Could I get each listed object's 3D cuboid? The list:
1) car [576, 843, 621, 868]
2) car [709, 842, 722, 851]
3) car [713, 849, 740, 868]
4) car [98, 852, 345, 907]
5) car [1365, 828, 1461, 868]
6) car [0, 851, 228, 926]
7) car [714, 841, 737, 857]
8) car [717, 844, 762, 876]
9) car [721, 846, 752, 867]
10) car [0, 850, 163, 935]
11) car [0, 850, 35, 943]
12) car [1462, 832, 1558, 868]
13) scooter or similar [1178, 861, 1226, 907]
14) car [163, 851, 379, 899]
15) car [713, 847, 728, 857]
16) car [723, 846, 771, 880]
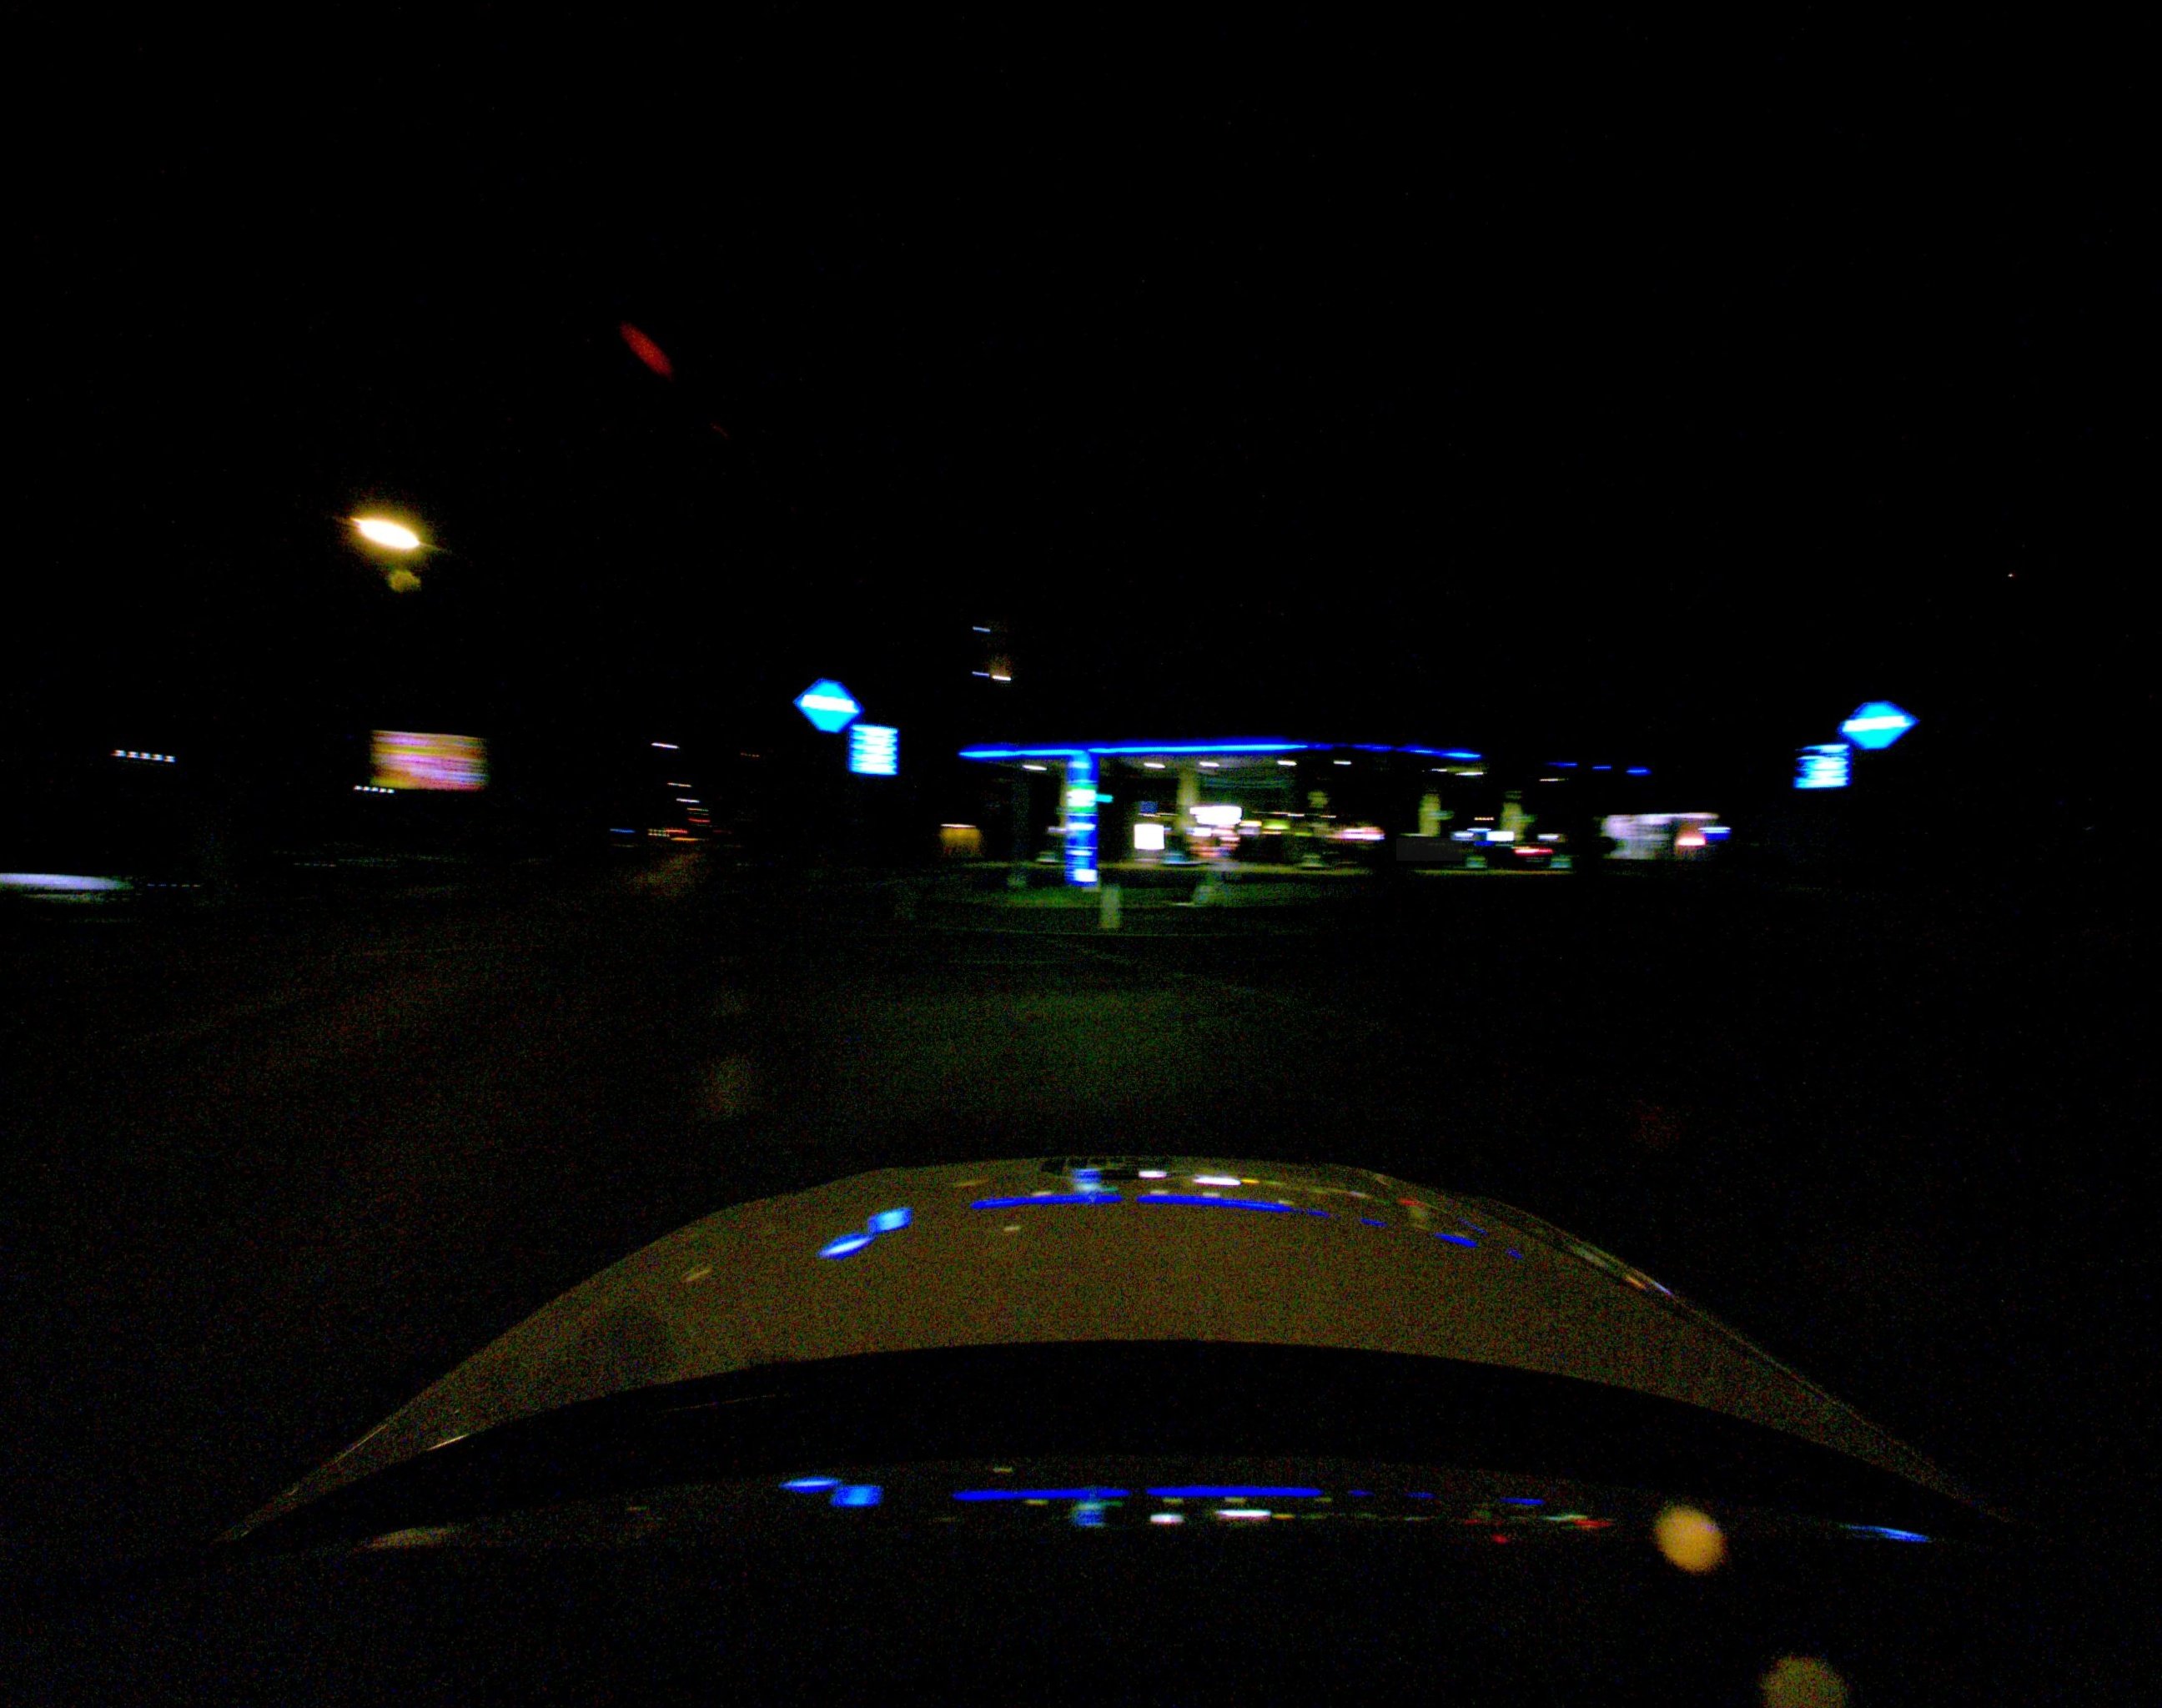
[{"bbox_3d":[-30.831,0.117,52.145,2.003,1.502,3.968,0,0,-24],"label":"car"},{"bbox_3d":[-65.524,-1.265,146.177,2.002,1.520,3.969,0,0,-23],"label":"car"},{"bbox_3d":[-29.008,0.388,66.741,2.002,1.520,3.969,0,0,-23],"label":"car"},{"bbox_3d":[-24.565,0.699,23.540,4.461,1.449,1.983,0,-1,-25],"label":"car"},{"bbox_3d":[16.344,-0.338,40.361,2.001,1.768,4.222,0,3,-21],"label":"car"},{"bbox_3d":[-20.974,0.666,16.620,4.461,1.449,1.983,0,-1,-25],"label":"car"},{"bbox_3d":[-35.996,-0.509,82.543,2.002,1.520,3.969,0,0,-23],"label":"car"},{"bbox_3d":[-18.494,0.298,44.041,2.004,1.596,3.967,1,0,-26],"label":"car"},{"bbox_3d":[-25.519,0.184,60.369,2.002,1.520,3.969,0,0,-23],"label":"car"},{"bbox_3d":[-19.793,0.655,14.265,4.462,1.449,1.983,0,-1,-26],"label":"car"},{"bbox_3d":[-18.632,0.641,11.391,4.461,1.449,1.983,0,-1,-25],"label":"car"},{"bbox_3d":[22.262,-0.226,42.426,2.004,1.663,3.966,0,3,-27],"label":"car"},{"bbox_3d":[3.134,0.742,21.012,0.708,1.092,1.691,1,1,28],"label":"scooter or similar"},{"bbox_3d":[-25.773,0.643,26.160,4.461,1.449,1.983,0,-1,-25],"label":"car"},{"bbox_3d":[-55.567,-0.312,125.451,2.002,1.520,3.969,0,0,-23],"label":"car"},{"bbox_3d":[-15.973,0.402,38.895,2.002,1.516,3.970,1,0,-23],"label":"car"}]
